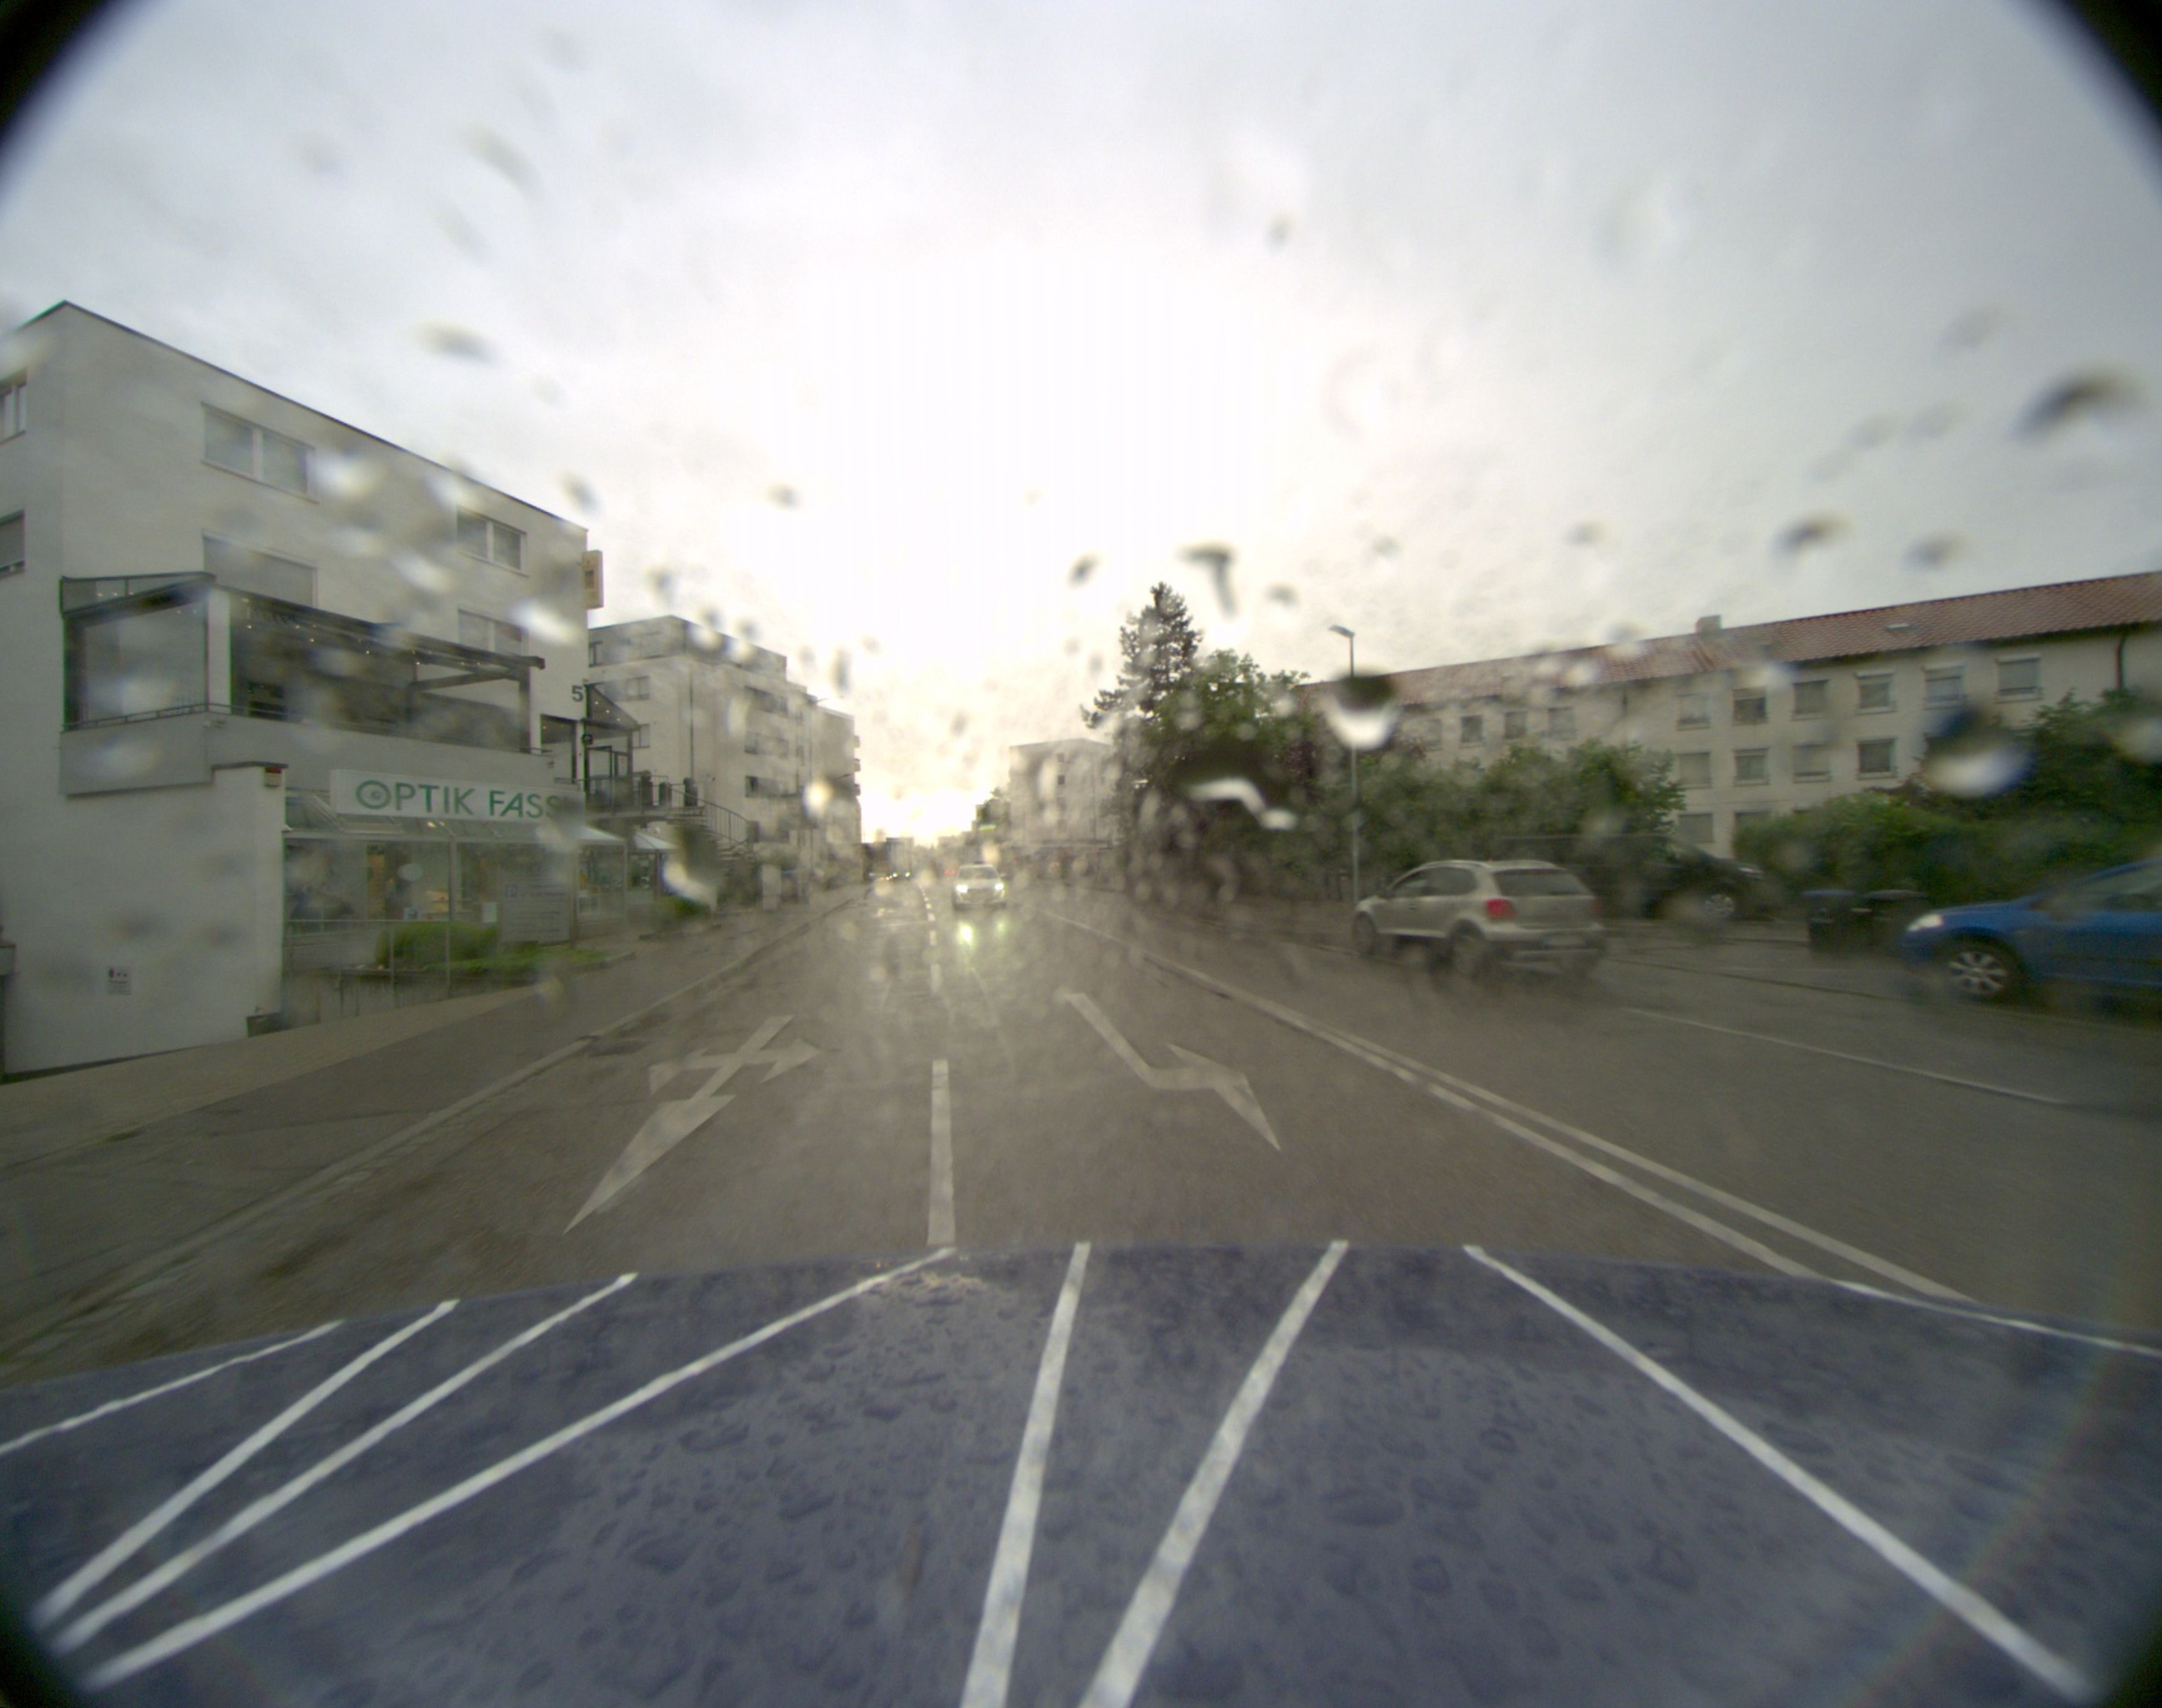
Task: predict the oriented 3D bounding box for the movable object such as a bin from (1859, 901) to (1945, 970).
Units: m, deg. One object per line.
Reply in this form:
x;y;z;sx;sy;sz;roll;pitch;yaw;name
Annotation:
11.414;1.119;10.577;0.576;0.897;0.597;-1;0;-11;movable object such as a bin

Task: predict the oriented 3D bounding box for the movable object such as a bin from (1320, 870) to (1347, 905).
8.360;1.096;25.205;0.601;1.111;0.600;-1;0;-14;movable object such as a bin

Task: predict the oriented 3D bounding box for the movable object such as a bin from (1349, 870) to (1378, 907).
8.928;1.085;24.058;0.602;1.111;0.600;-1;0;-24;movable object such as a bin

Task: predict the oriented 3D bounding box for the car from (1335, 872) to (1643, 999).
5.357;0.978;10.632;1.831;1.431;3.838;1;-1;-9;car

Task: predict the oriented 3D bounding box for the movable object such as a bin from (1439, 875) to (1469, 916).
10.505;1.158;21.409;0.600;1.111;0.602;-1;0;43;movable object such as a bin

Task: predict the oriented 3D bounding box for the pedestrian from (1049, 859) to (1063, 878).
-2.221;1.252;66.508;0.873;1.597;1.101;-1;1;-20;pedestrian

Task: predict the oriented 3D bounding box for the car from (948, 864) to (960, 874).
-21.594;2.602;129.187;1.808;1.547;4.316;-2;-2;-9;car

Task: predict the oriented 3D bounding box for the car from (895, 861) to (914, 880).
-19.895;1.907;85.821;2.000;2.001;3.997;-1;-2;-12;car

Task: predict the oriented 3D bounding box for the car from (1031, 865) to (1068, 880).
-3.385;1.965;82.417;1.994;1.537;4.480;0;-1;29;car

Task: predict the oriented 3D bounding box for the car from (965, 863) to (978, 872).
-18.681;2.346;129.043;1.704;1.400;3.996;2;-2;-15;car

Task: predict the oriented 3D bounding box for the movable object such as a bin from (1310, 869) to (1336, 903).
8.221;1.085;25.812;0.601;1.111;0.600;-1;0;-14;movable object such as a bin

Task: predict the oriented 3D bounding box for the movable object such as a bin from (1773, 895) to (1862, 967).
10.730;1.106;11.083;0.650;0.960;0.682;-1;0;-11;movable object such as a bin

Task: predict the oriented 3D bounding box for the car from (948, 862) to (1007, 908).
-3.615;1.067;26.613;1.831;1.430;4.343;-2;-1;-8;car

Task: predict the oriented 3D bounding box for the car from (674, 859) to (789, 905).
-16.179;1.262;35.495;1.995;2.001;4.787;-1;-1;21;car

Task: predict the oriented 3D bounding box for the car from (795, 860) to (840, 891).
-16.467;1.309;47.682;2.000;1.775;4.686;-1;-1;-11;car

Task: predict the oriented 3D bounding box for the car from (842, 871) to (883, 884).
-26.187;2.840;91.006;4.263;1.485;1.876;-2;-2;15;car

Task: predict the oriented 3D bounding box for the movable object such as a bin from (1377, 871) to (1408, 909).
9.388;1.087;22.899;0.602;1.111;0.600;-1;0;-24;movable object such as a bin

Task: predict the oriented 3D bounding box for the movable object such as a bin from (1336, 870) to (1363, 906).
8.704;1.097;24.638;0.601;1.111;0.600;-1;0;-13;movable object such as a bin

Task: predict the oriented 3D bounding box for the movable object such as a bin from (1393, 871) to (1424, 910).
9.625;1.053;22.333;0.602;1.111;0.600;-1;0;-24;movable object such as a bin

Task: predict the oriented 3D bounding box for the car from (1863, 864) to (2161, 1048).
9.935;0.860;6.489;1.657;1.512;4.320;-1;0;-11;car

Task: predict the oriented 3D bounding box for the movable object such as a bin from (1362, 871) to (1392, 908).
9.156;1.091;23.482;0.602;1.111;0.600;-1;0;-24;movable object such as a bin

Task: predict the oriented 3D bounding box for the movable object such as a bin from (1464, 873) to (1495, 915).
11.037;1.093;21.054;0.600;1.111;0.602;-1;0;43;movable object such as a bin

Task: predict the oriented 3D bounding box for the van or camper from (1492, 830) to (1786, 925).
12.686;0.588;17.697;5.204;1.913;2.004;-3;-2;35;van or camper
